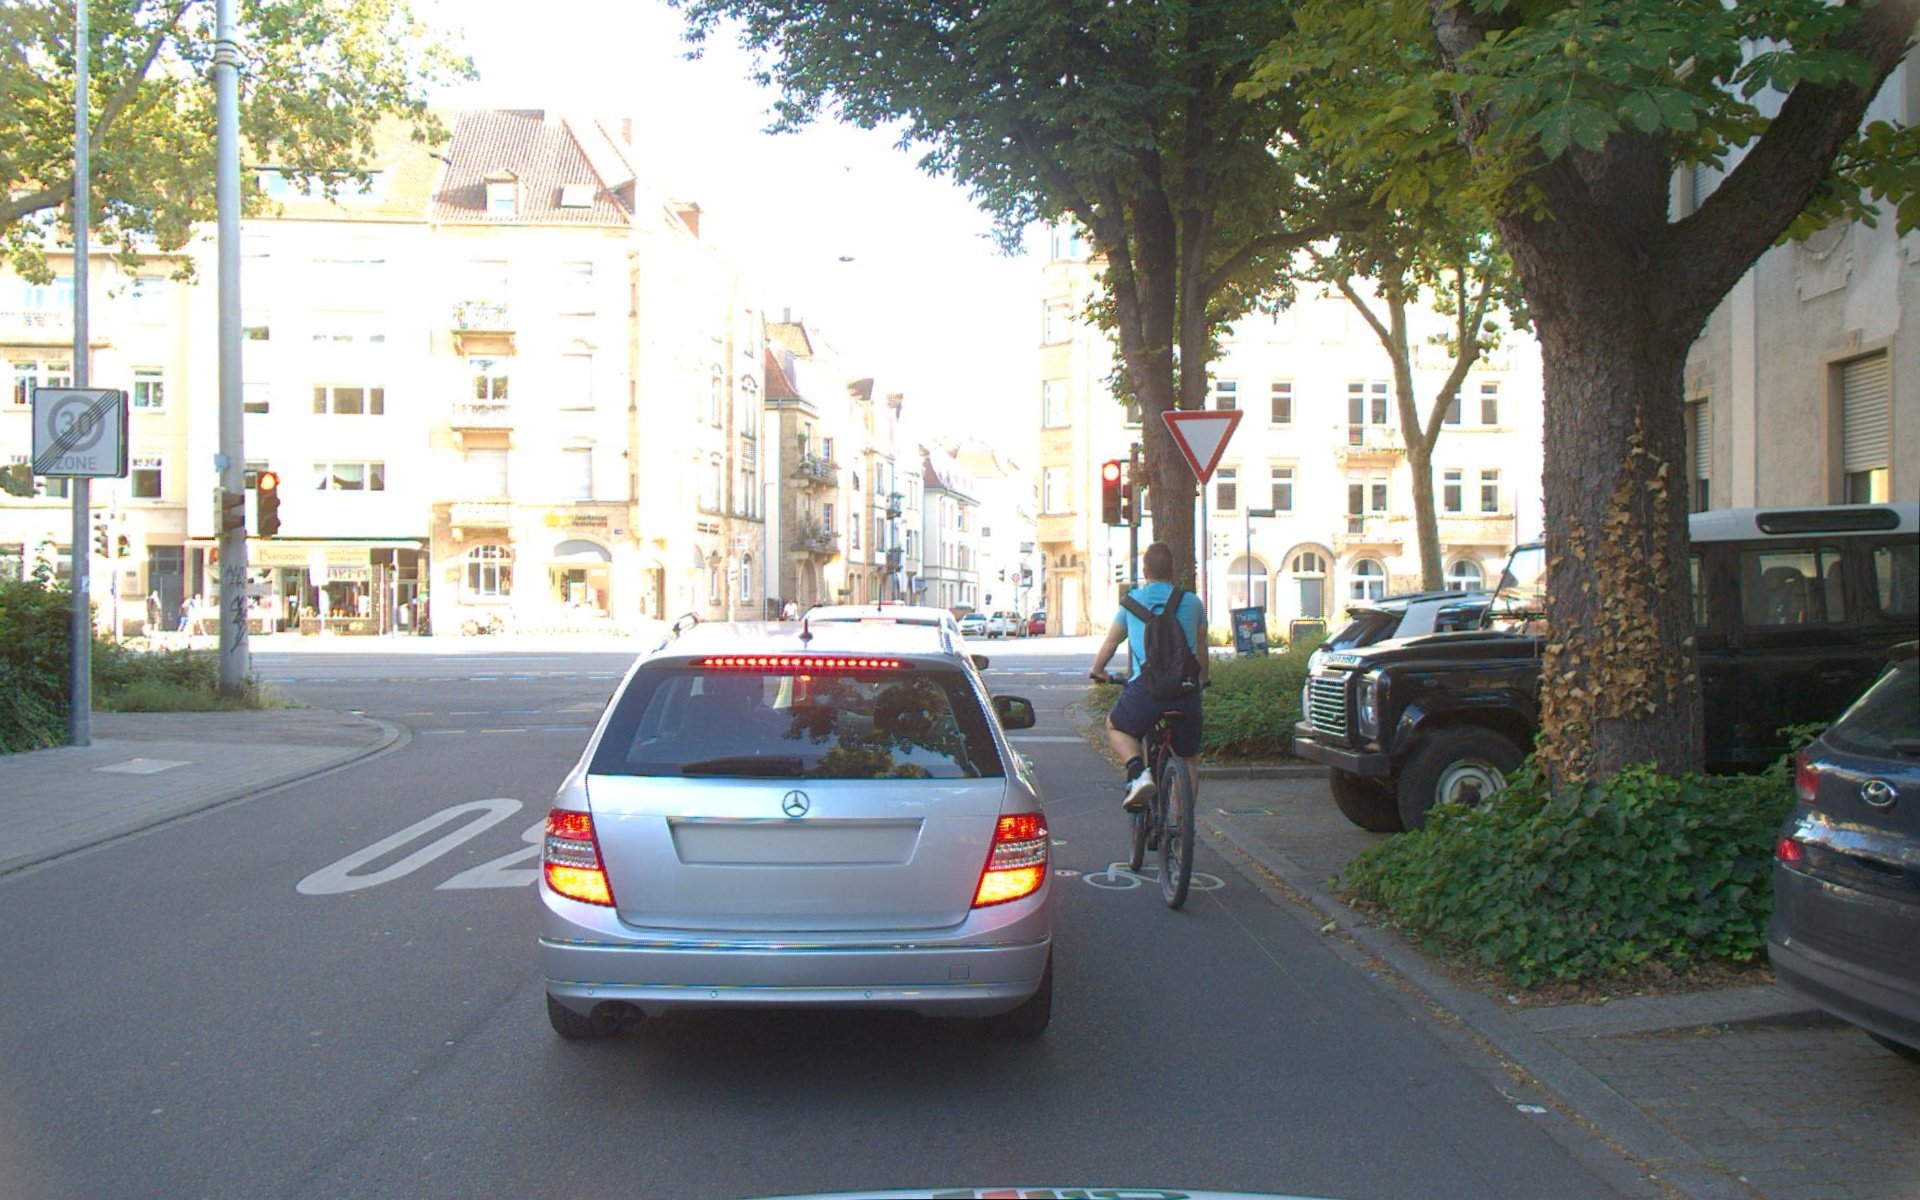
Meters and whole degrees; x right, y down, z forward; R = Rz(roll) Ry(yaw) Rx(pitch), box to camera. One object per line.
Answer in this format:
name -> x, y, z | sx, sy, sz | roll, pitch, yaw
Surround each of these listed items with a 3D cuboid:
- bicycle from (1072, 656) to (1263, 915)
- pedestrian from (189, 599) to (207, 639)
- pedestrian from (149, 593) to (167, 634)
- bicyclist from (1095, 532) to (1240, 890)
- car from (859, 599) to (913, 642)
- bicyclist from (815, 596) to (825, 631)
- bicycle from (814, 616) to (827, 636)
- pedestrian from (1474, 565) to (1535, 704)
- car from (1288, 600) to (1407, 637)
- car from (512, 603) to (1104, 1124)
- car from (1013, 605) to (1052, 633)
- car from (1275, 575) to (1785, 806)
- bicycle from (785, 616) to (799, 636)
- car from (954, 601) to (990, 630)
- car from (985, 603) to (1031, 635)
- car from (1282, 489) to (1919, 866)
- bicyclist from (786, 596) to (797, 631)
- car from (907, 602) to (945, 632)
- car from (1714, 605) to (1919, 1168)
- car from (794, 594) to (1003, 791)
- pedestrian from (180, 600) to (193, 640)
bicycle -> 1.058, 0.917, 8.872 | 0.727, 1.137, 2.013 | 1, 0, -1
pedestrian -> -29.553, 0.727, 64.132 | 0.498, 1.537, 0.536 | 0, 0, -5
pedestrian -> -30.428, 0.515, 62.761 | 0.557, 1.537, 0.499 | 0, 0, -20
bicyclist -> 1.087, 0.566, 8.815 | 0.633, 1.806, 0.830 | 1, -1, -1
car -> -3.539, 0.969, 79.688 | 1.896, 1.993, 4.153 | 0, 0, 7
bicyclist -> -6.198, 0.580, 73.171 | 0.457, 1.547, 0.693 | 0, 0, -4
bicycle -> -6.176, 1.141, 73.112 | 0.557, 0.849, 1.564 | 0, 0, -4
pedestrian -> 7.463, 0.460, 22.666 | 0.619, 1.877, 0.574 | 0, 0, -5
car -> 11.772, 0.551, 50.366 | 3.296, 1.087, 1.380 | 0, 0, -2
car -> -0.523, 0.762, 6.463 | 1.657, 1.454, 3.490 | 1, 0, -3
car -> 4.491, 1.174, 102.123 | 1.684, 1.503, 4.004 | -4, 0, 11
car -> 4.434, 0.656, 13.144 | 3.415, 1.614, 1.708 | -1, 0, -7
bicycle -> -7.438, 1.138, 73.087 | 0.557, 0.849, 1.564 | 0, 0, -4
car -> 0.784, 0.940, 103.862 | 1.650, 1.753, 4.003 | 0, 0, 10
car -> 2.506, 0.970, 85.914 | 1.684, 1.504, 4.004 | -2, 0, 11
car -> 4.417, 0.401, 10.241 | 4.402, 1.990, 1.791 | -2, 0, -4
bicyclist -> -7.453, 0.575, 73.164 | 0.457, 1.541, 0.655 | 0, 0, -4
car -> -2.109, 1.087, 102.383 | 1.615, 1.814, 3.866 | 0, -1, 10
car -> 4.295, 0.690, 4.555 | 3.675, 1.446, 1.627 | -2, -1, -4
car -> -0.517, 0.667, 13.788 | 1.502, 1.415, 3.597 | 0, 0, -2
pedestrian -> -29.648, 0.765, 63.376 | 0.423, 1.537, 0.471 | 0, 0, -21
